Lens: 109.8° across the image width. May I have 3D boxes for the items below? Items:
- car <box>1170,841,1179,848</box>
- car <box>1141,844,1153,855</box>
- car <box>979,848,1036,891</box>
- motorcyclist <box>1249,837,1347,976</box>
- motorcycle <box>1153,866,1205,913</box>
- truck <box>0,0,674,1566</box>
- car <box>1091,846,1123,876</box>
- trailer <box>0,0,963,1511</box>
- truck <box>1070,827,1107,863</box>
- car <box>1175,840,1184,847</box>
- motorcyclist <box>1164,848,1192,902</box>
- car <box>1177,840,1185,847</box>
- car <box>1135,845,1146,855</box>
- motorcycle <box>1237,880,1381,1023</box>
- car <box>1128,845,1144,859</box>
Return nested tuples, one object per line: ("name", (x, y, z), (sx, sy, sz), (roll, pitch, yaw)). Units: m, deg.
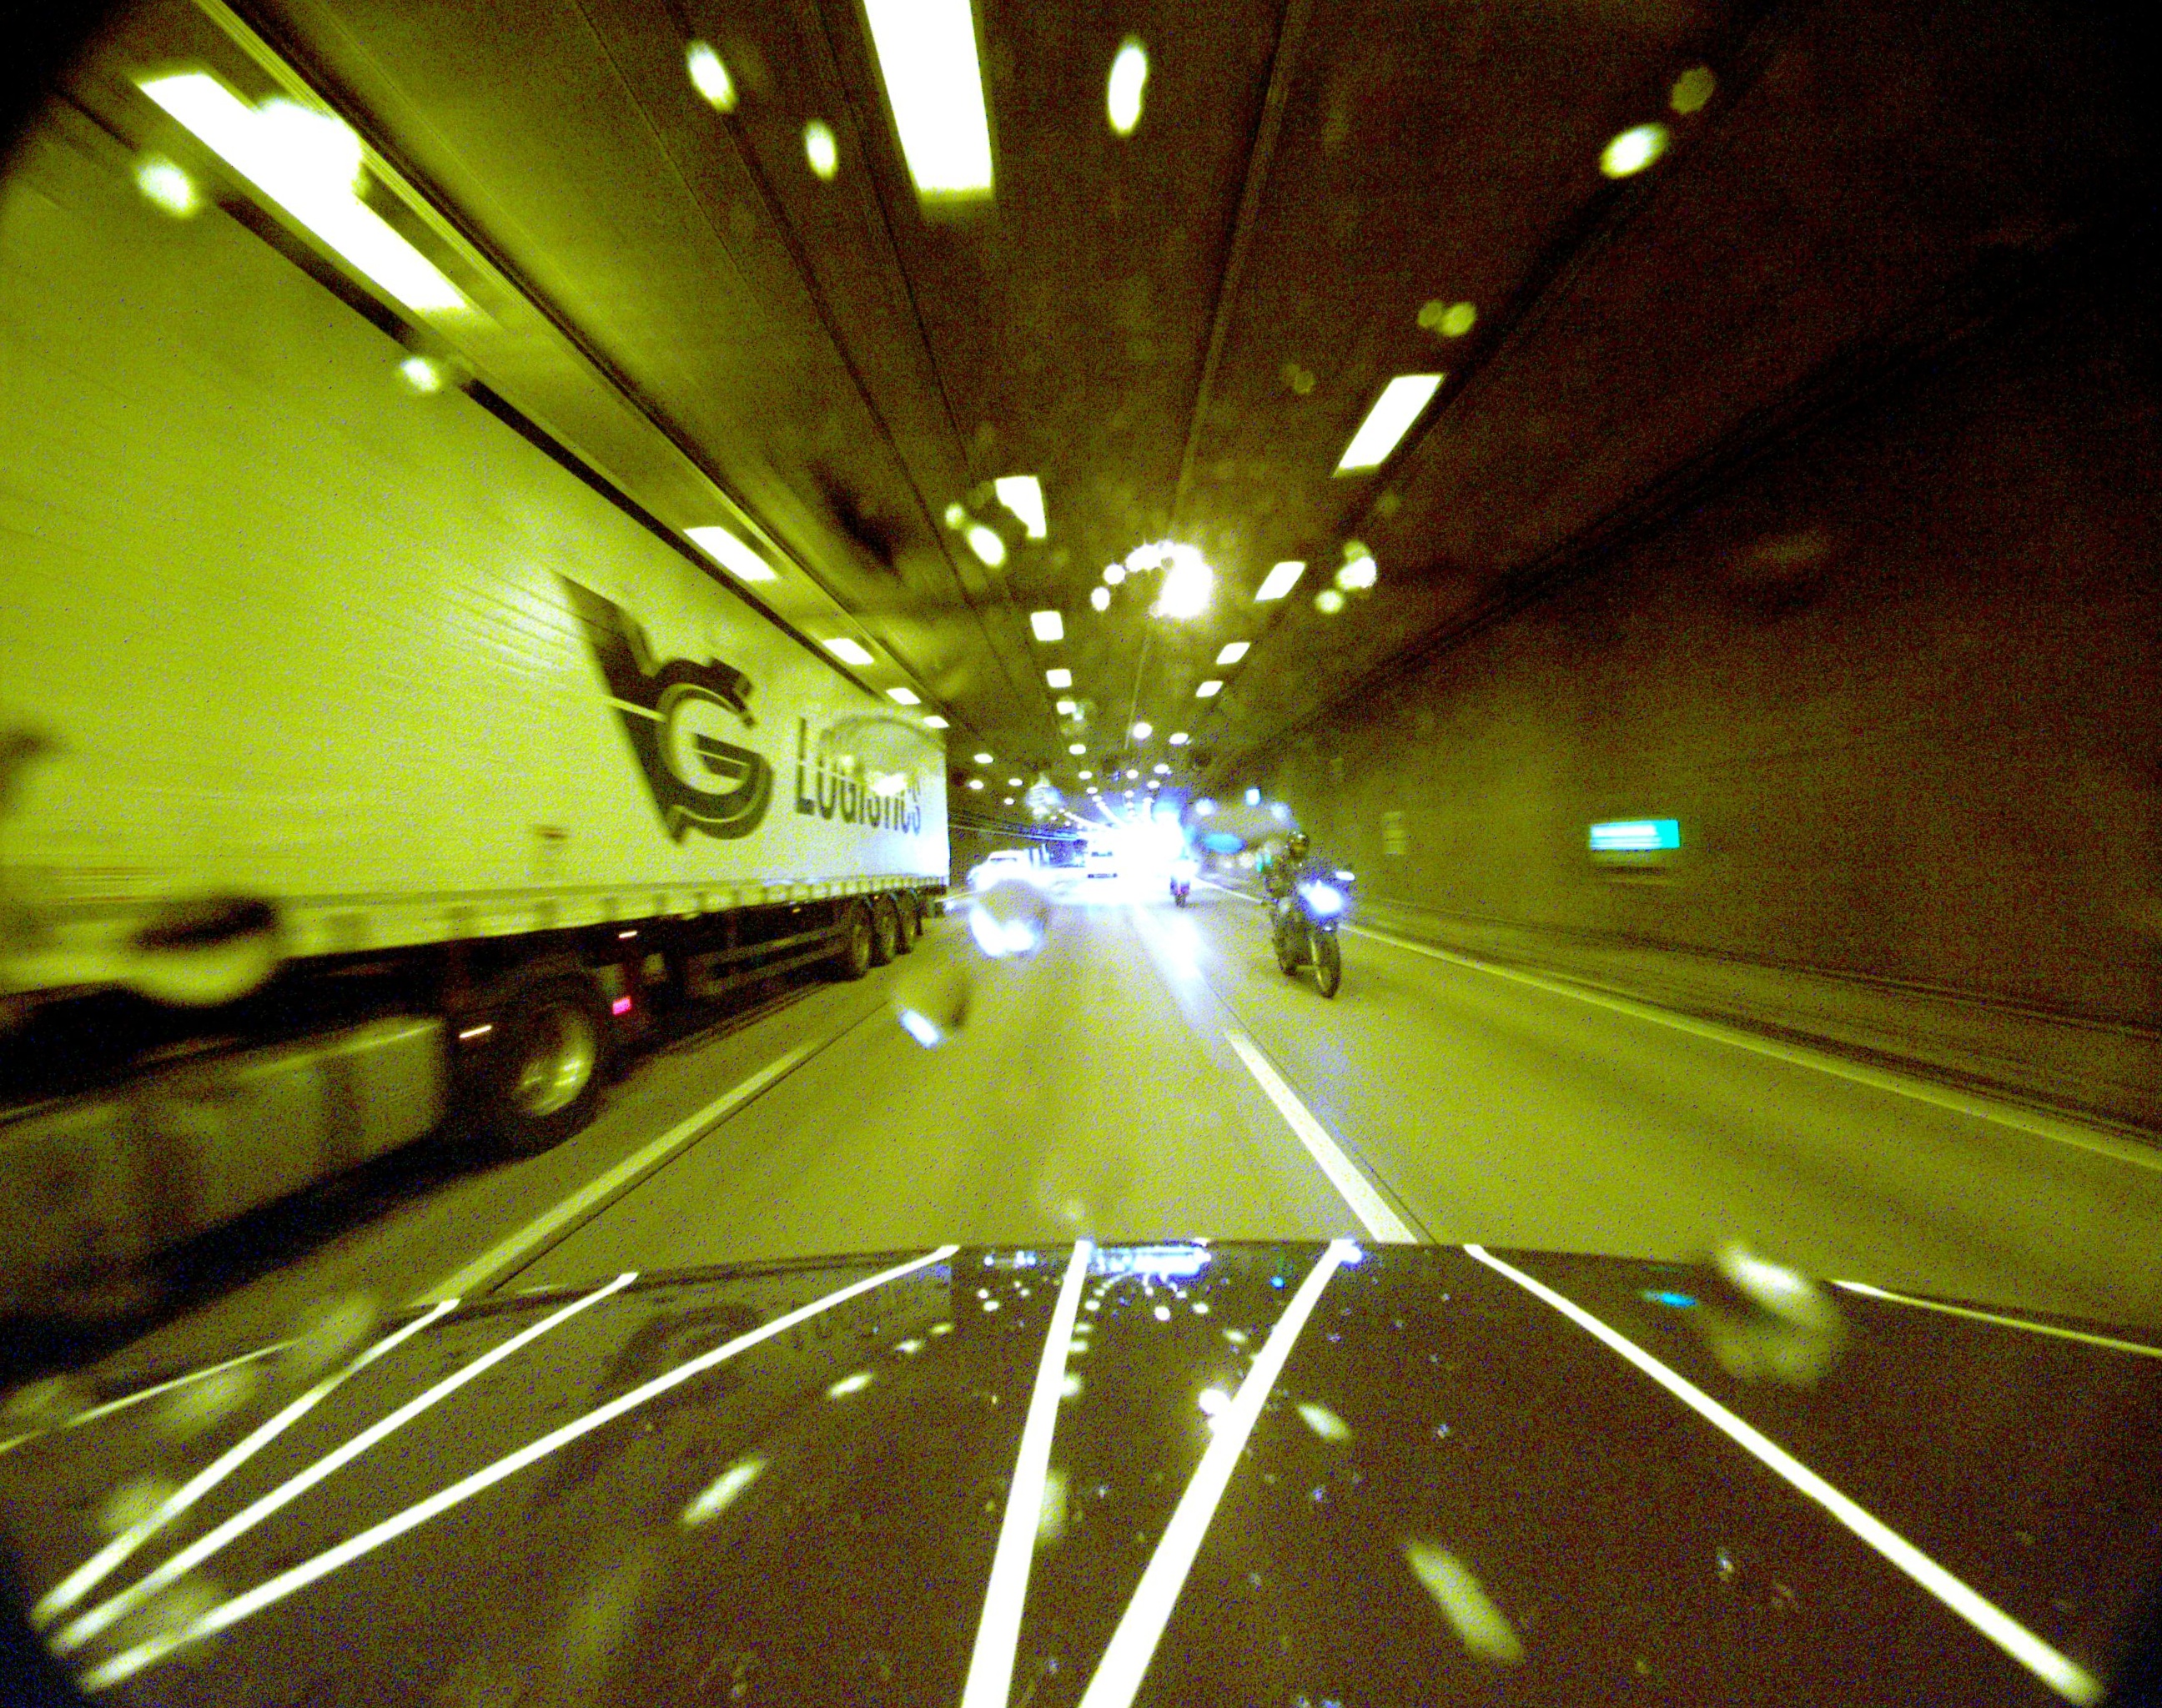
("car", (24.005, -2.482, 195.270), (1.997, 1.788, 4.003), (-3, 1, 12))
("car", (11.833, -0.857, 135.848), (1.997, 1.788, 4.001), (-3, 1, 7))
("car", (-3.375, 0.685, 35.688), (1.839, 1.849, 4.289), (-2, 0, 4))
("motorcyclist", (2.431, 0.570, 8.613), (0.841, 1.469, 0.821), (-2, 0, 1))
("motorcycle", (2.709, 0.958, 21.301), (1.056, 1.151, 2.427), (-2, 0, -2))
("truck", (-4.090, -0.247, 1.891), (2.653, 4.139, 6.005), (-3, 0, 1))
("car", (1.713, 0.451, 50.252), (1.998, 1.890, 4.000), (-1, 0, 1))
("trailer", (-4.021, -0.312, 8.975), (2.627, 4.139, 14.001), (-3, 0, 1))
("truck", (0.960, -1.067, 86.966), (2.899, 3.819, 9.001), (-3, 1, 7))
("car", (27.545, -2.851, 212.589), (1.997, 1.788, 4.003), (-3, 1, 12))
("motorcyclist", (2.737, 0.581, 21.573), (0.628, 1.480, 0.890), (-2, 1, -1))
("car", (30.450, -3.209, 231.937), (1.997, 1.788, 4.003), (-3, 1, 12))
("car", (12.317, -0.850, 157.037), (1.997, 1.788, 4.002), (-3, 1, 7))
("motorcycle", (2.432, 0.967, 8.514), (0.848, 1.238, 2.604), (-2, 0, 1))
("car", (7.606, -0.320, 104.802), (1.998, 1.788, 4.001), (-3, 1, 6))
